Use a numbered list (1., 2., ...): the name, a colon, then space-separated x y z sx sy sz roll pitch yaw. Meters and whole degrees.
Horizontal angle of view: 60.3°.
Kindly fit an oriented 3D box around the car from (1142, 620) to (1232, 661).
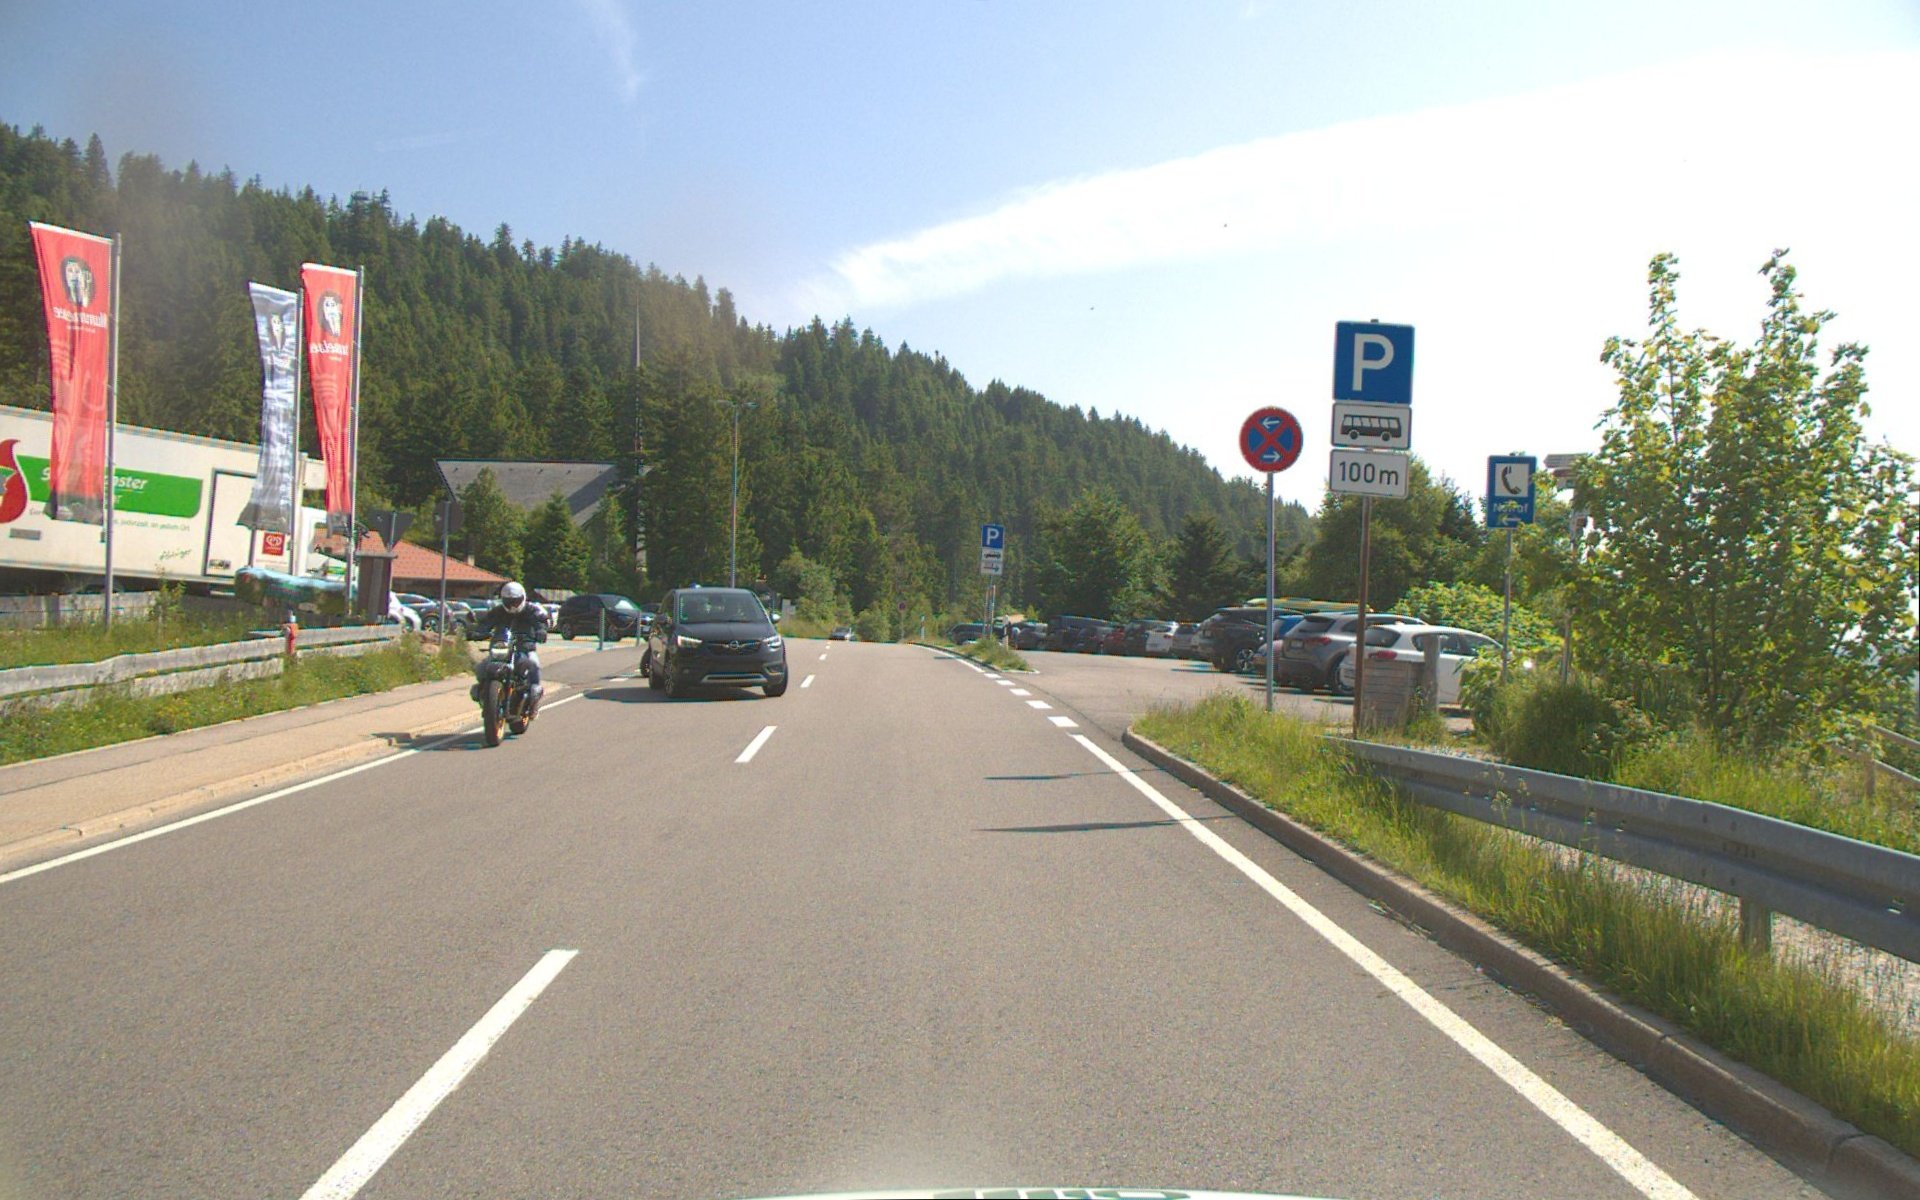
1. car: 10.061 1.814 73.224 3.965 1.502 1.741 6 -2 -42

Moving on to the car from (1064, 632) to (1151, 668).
1. car: 7.291 2.451 81.574 3.947 1.439 1.726 6 -2 -31

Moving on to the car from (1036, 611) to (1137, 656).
1. car: 6.476 1.720 84.430 4.693 1.912 1.953 5 -2 -23

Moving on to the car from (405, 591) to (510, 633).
1. car: -21.611 0.514 71.219 3.969 1.734 1.797 1 0 -44

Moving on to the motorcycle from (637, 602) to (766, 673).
1. motorcycle: -4.808 0.686 30.896 2.305 1.287 0.802 0 0 -40

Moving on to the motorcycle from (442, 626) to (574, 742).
1. motorcycle: -4.700 0.845 17.369 0.822 1.115 2.182 -1 -1 -1

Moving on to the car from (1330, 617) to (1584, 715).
1. car: 8.656 1.143 28.902 3.919 1.409 1.651 4 -1 -14

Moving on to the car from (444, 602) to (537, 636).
1. car: -22.726 0.901 80.127 1.866 1.572 3.975 1 0 42

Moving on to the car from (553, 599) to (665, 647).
1. car: -12.127 0.762 57.011 4.122 1.567 1.795 1 0 45

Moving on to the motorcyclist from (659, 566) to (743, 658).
1. motorcyclist: -4.840 0.222 30.941 1.287 1.670 0.869 1 0 -40

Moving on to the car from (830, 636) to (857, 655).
1. car: -9.518 3.683 135.560 1.546 1.454 3.374 1 0 8

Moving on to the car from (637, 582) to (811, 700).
1. car: -3.692 0.583 25.318 1.949 1.645 4.128 0 0 -18

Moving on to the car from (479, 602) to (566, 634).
1. car: -22.897 0.951 86.655 1.964 1.601 3.977 0 -1 41

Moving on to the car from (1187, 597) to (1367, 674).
1. car: 7.822 0.866 40.930 3.913 1.641 1.912 3 -1 -9

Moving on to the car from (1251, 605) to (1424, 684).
1. car: 8.722 1.011 38.389 3.510 1.521 1.647 4 0 -3

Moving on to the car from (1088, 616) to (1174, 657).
1. car: 8.203 1.751 79.107 3.965 1.617 1.836 6 -2 -42

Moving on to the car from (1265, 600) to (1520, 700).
1. car: 8.296 0.948 31.812 4.323 1.595 1.901 4 0 -15

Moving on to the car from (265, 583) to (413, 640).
1. car: -21.625 0.410 57.736 1.804 1.896 4.500 1 0 43

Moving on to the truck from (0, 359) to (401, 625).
1. truck: -15.241 -1.845 31.027 3.008 4.041 8.743 4 -1 34

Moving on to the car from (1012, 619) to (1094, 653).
1. car: 4.933 1.912 87.662 3.937 1.468 1.825 5 -2 -25

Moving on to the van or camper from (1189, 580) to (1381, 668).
1. van or camper: 9.194 0.666 47.117 4.986 2.048 1.882 5 0 1

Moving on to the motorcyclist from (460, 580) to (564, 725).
1. motorcyclist: -4.691 0.538 17.382 0.822 1.466 1.005 -1 -1 -1

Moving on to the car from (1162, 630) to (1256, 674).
1. car: 10.616 2.222 70.486 3.965 1.576 1.793 6 -2 -42

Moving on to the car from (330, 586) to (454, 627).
1. car: -21.055 0.261 61.411 1.879 1.455 3.978 1 0 40

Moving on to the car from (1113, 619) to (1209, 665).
1. car: 9.173 1.908 75.303 4.236 1.724 1.961 6 -2 -42

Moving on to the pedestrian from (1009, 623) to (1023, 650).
1. pedestrian: 3.014 1.945 88.995 0.757 1.427 0.669 1 0 2

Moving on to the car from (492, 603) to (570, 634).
1. car: -24.045 1.040 92.794 1.743 1.701 4.009 -1 -2 40

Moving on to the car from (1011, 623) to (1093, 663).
1. car: 5.039 2.344 90.783 3.946 1.690 1.980 8 -4 -30

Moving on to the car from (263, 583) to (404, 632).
1. car: -20.963 0.258 55.433 1.965 1.573 3.975 1 0 42

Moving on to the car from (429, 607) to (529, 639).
1. car: -21.697 1.050 74.684 3.967 1.395 1.784 1 0 -43

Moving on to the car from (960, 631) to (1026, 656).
1. car: 2.404 3.161 119.721 4.389 1.321 1.573 7 -2 -20

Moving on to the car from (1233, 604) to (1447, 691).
1. car: 7.960 0.991 34.755 3.919 1.536 1.836 4 0 -13

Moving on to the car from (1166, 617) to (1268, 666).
1. car: 10.493 1.698 67.429 4.189 1.724 1.836 5 -2 -42

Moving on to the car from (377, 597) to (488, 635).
1. car: -21.654 0.656 67.966 1.685 1.512 4.056 1 0 41
